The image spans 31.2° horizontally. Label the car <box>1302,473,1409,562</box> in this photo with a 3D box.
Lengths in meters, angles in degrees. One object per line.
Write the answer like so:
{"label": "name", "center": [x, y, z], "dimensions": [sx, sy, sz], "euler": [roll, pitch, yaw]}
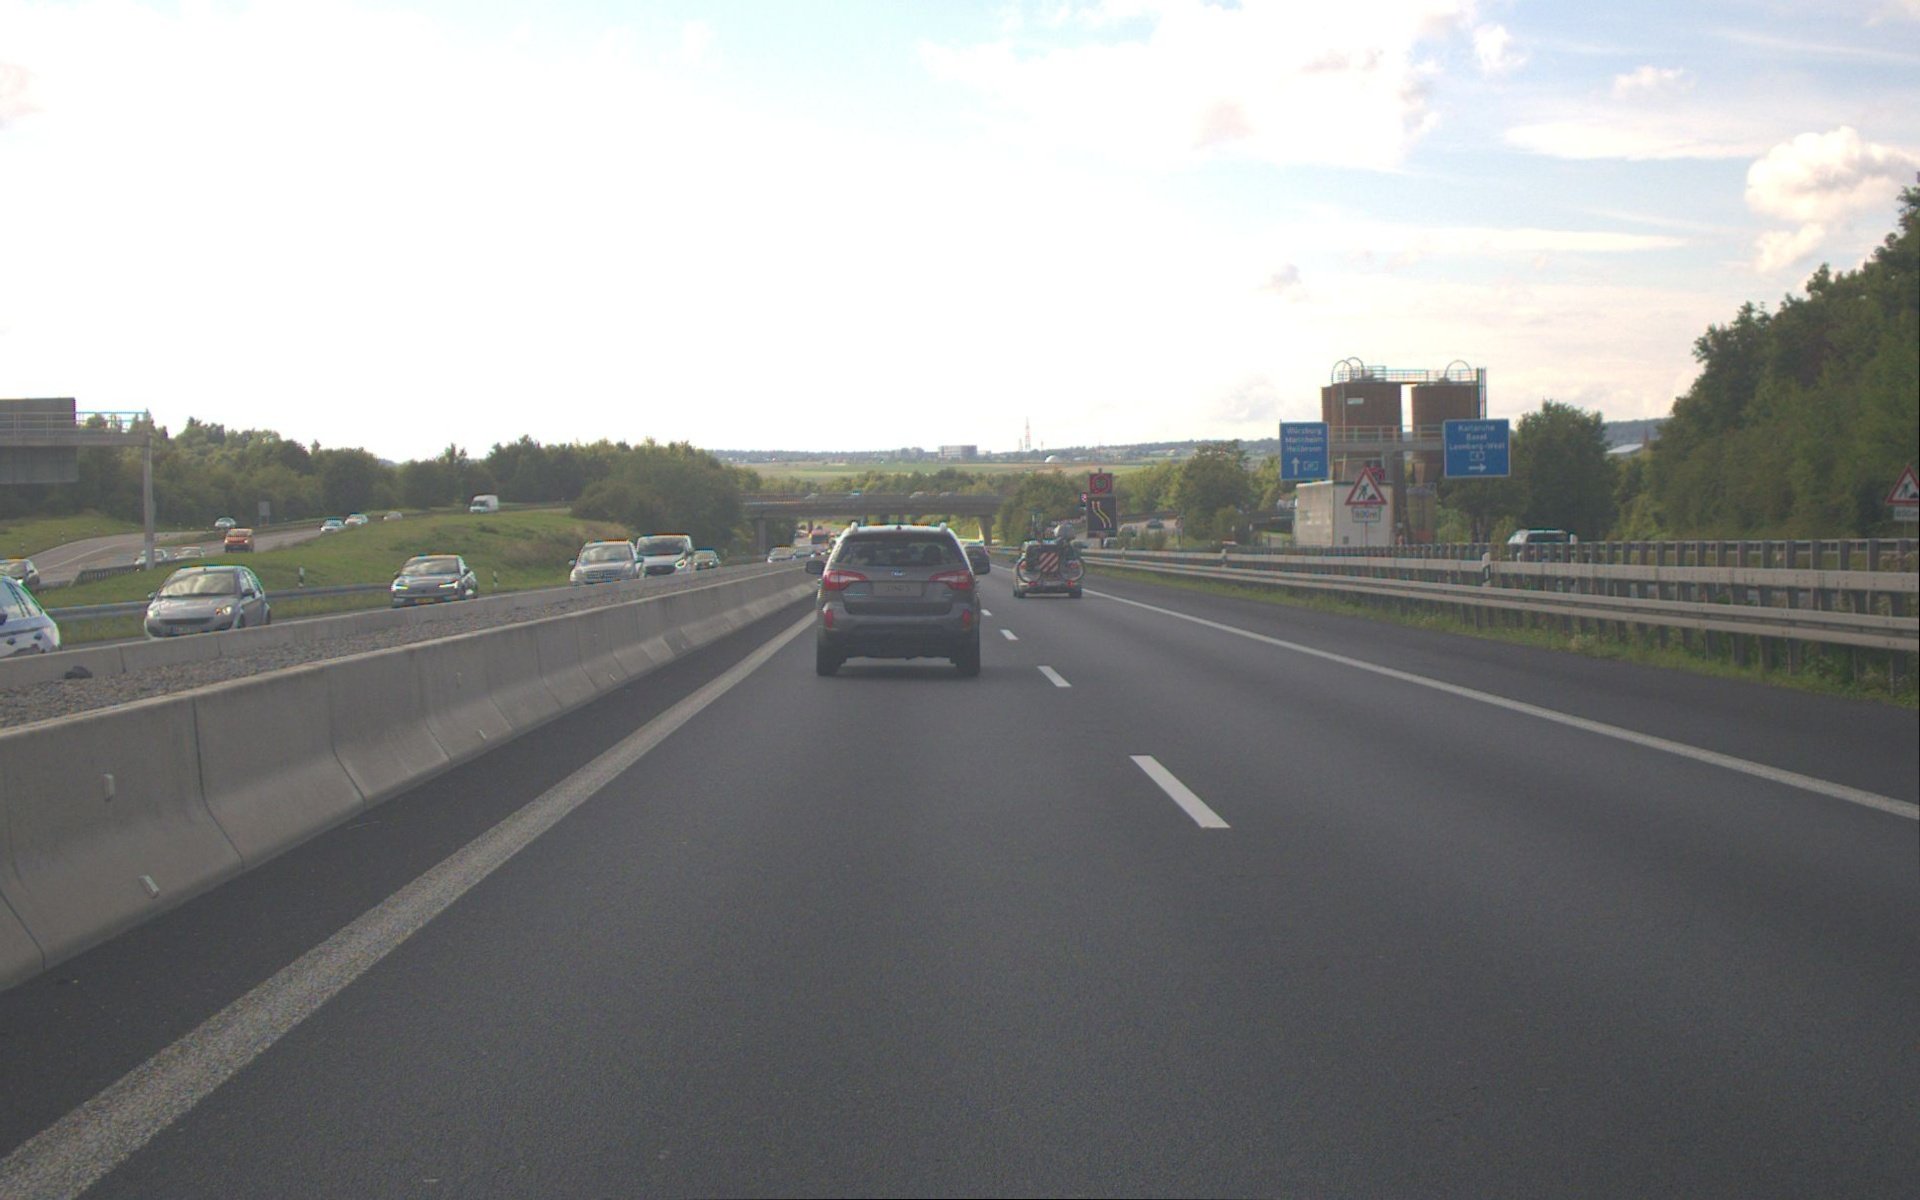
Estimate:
{"label": "car", "center": [17.222, -3.565, 150.231], "dimensions": [3.576, 3.664, 7.549], "euler": [-2, 1, -1]}

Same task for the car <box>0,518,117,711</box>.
{"label": "car", "center": [-8.996, 0.137, 30.032], "dimensions": [1.927, 1.612, 5.419], "euler": [-2, 1, -1]}

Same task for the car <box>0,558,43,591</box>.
{"label": "car", "center": [-41.254, -1.118, 150.196], "dimensions": [1.772, 1.395, 4.400], "euler": [-2, 1, -9]}

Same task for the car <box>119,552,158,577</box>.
{"label": "car", "center": [-47.620, -2.068, 199.374], "dimensions": [1.772, 1.395, 4.400], "euler": [-2, 1, -9]}

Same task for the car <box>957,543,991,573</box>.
{"label": "car", "center": [0.839, -2.566, 209.214], "dimensions": [1.975, 1.773, 4.120], "euler": [-2, 1, -1]}

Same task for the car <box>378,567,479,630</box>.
{"label": "car", "center": [-13.924, -0.053, 90.251], "dimensions": [1.993, 1.527, 4.507], "euler": [-2, 1, -1]}

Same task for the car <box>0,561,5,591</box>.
{"label": "car", "center": [-46.356, -1.108, 162.552], "dimensions": [1.772, 1.395, 4.400], "euler": [-2, 1, -9]}

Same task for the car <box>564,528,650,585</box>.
{"label": "car", "center": [-10.109, -1.260, 98.733], "dimensions": [1.993, 1.527, 5.022], "euler": [-2, 1, -1]}

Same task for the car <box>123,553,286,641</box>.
{"label": "car", "center": [-13.459, -0.083, 61.481], "dimensions": [1.993, 1.451, 4.181], "euler": [-2, 1, -1]}

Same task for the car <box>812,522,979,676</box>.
{"label": "car", "center": [-0.696, -0.035, 39.575], "dimensions": [1.750, 1.624, 3.609], "euler": [-2, 1, 1]}

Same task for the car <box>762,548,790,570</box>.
{"label": "car", "center": [-12.138, -2.708, 227.234], "dimensions": [1.641, 1.393, 3.742], "euler": [-2, 1, -1]}

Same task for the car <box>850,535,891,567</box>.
{"label": "car", "center": [-5.286, -2.897, 203.108], "dimensions": [2.169, 1.837, 4.000], "euler": [-2, 1, 1]}

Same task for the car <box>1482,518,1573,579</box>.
{"label": "car", "center": [16.996, -1.548, 103.128], "dimensions": [1.993, 1.711, 4.000], "euler": [-2, 1, -1]}

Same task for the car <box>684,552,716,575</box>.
{"label": "car", "center": [-16.554, -2.353, 218.998], "dimensions": [1.727, 1.393, 4.158], "euler": [-2, 1, -1]}

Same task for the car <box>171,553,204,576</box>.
{"label": "car", "center": [-51.154, -2.353, 227.645], "dimensions": [1.772, 1.395, 4.400], "euler": [-2, 1, -9]}

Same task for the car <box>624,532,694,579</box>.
{"label": "car", "center": [-10.523, -1.557, 120.384], "dimensions": [1.993, 1.527, 5.748], "euler": [-2, 1, -1]}

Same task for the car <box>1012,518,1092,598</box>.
{"label": "car", "center": [2.514, -1.162, 94.686], "dimensions": [1.993, 2.073, 4.000], "euler": [-2, 1, -1]}
